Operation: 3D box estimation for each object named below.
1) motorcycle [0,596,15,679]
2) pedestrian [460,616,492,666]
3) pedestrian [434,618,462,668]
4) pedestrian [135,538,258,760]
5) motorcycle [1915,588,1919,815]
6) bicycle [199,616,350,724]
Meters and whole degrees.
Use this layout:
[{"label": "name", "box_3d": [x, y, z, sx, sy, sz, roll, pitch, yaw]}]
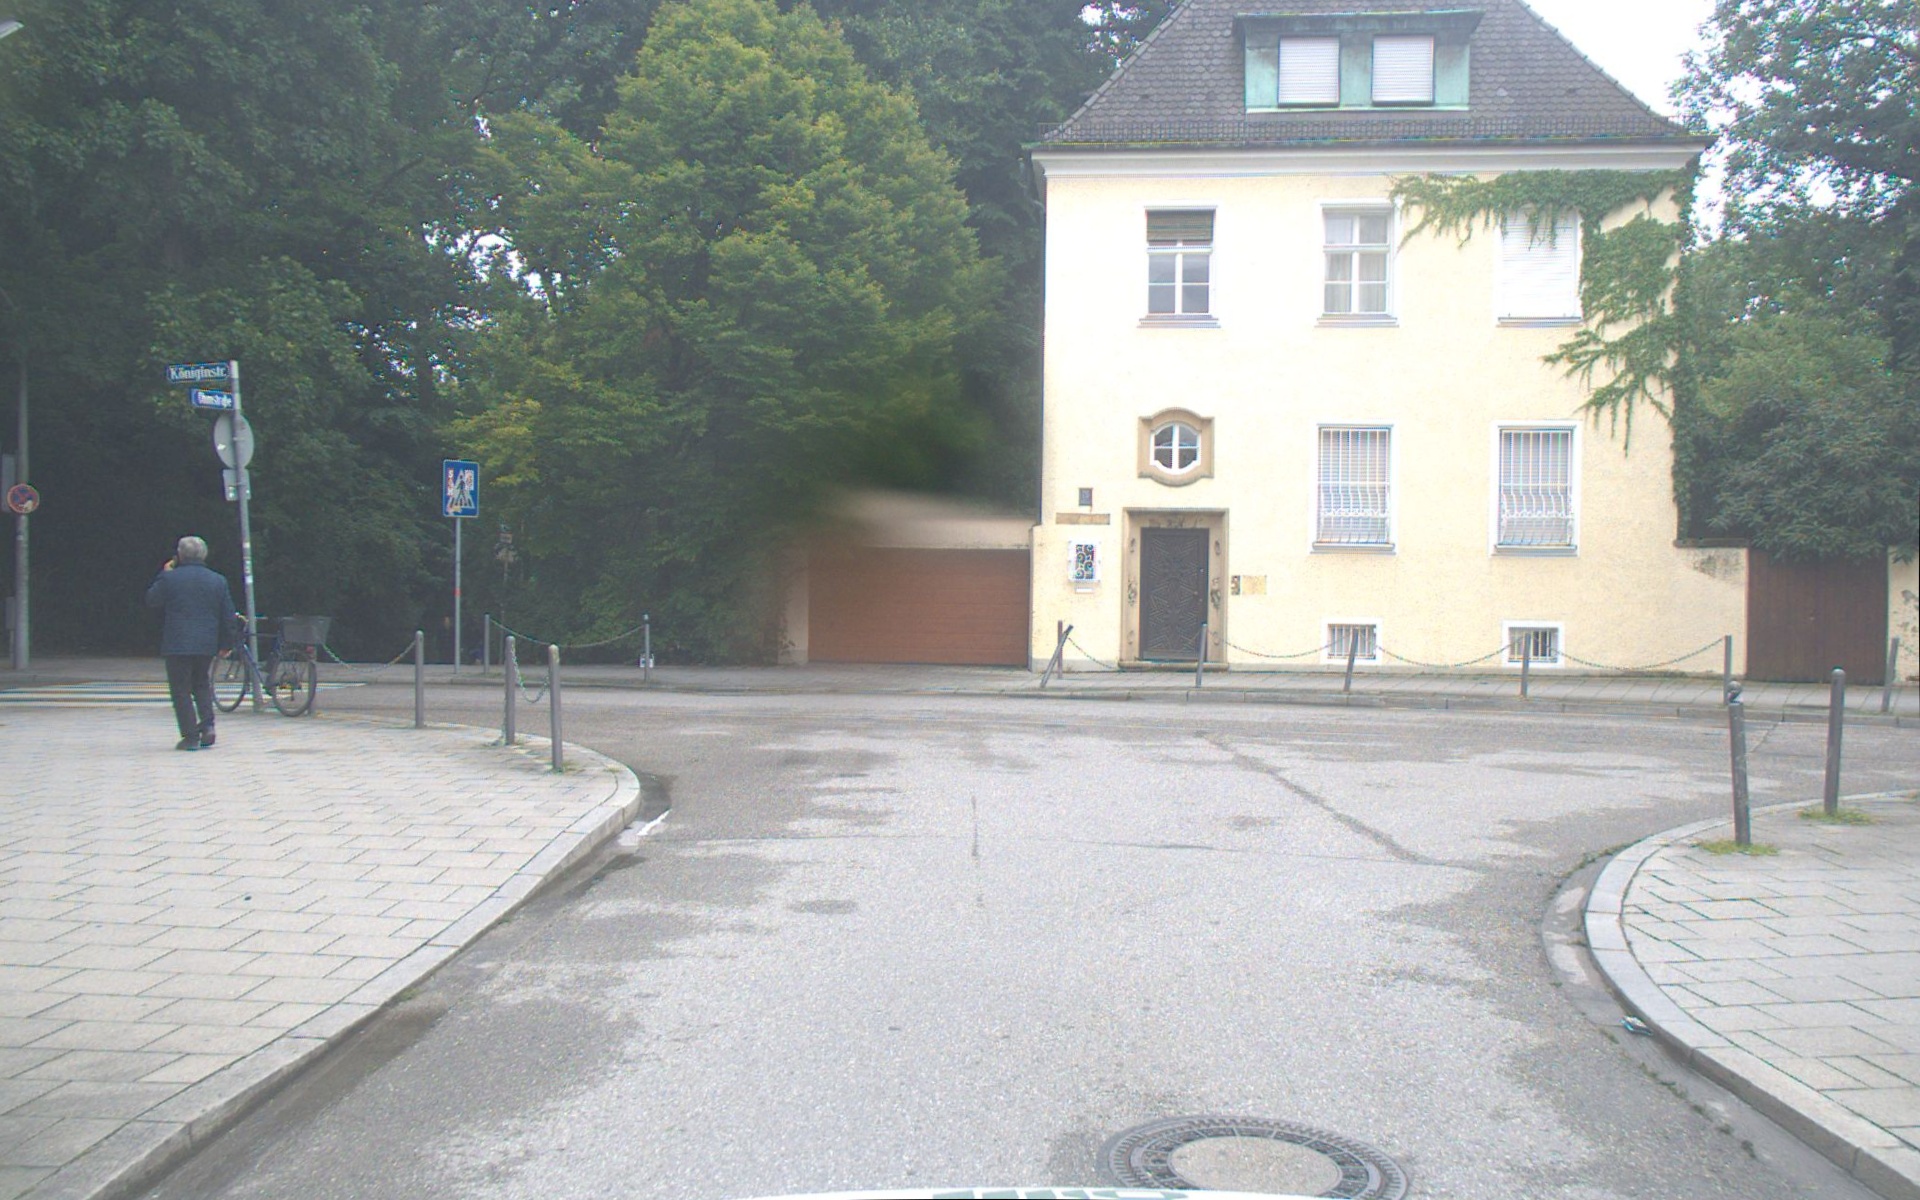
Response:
[{"label": "motorcycle", "box_3d": [-15.184, 0.555, 24.690, 1.959, 1.204, 0.859, 1, 4, 24]}, {"label": "pedestrian", "box_3d": [-11.655, 0.978, 39.801, 0.573, 1.189, 0.497, 1, 0, 5]}, {"label": "pedestrian", "box_3d": [-12.286, 1.035, 39.671, 0.461, 1.176, 0.497, 1, 0, 5]}, {"label": "pedestrian", "box_3d": [-5.986, 0.372, 12.953, 0.801, 1.670, 0.719, 1, 0, -29]}, {"label": "motorcycle", "box_3d": [6.916, 0.640, 10.105, 2.050, 1.379, 0.811, 1, 0, -24]}, {"label": "bicycle", "box_3d": [-7.208, 0.705, 17.349, 1.968, 1.028, 0.510, 1, 0, 37]}]
